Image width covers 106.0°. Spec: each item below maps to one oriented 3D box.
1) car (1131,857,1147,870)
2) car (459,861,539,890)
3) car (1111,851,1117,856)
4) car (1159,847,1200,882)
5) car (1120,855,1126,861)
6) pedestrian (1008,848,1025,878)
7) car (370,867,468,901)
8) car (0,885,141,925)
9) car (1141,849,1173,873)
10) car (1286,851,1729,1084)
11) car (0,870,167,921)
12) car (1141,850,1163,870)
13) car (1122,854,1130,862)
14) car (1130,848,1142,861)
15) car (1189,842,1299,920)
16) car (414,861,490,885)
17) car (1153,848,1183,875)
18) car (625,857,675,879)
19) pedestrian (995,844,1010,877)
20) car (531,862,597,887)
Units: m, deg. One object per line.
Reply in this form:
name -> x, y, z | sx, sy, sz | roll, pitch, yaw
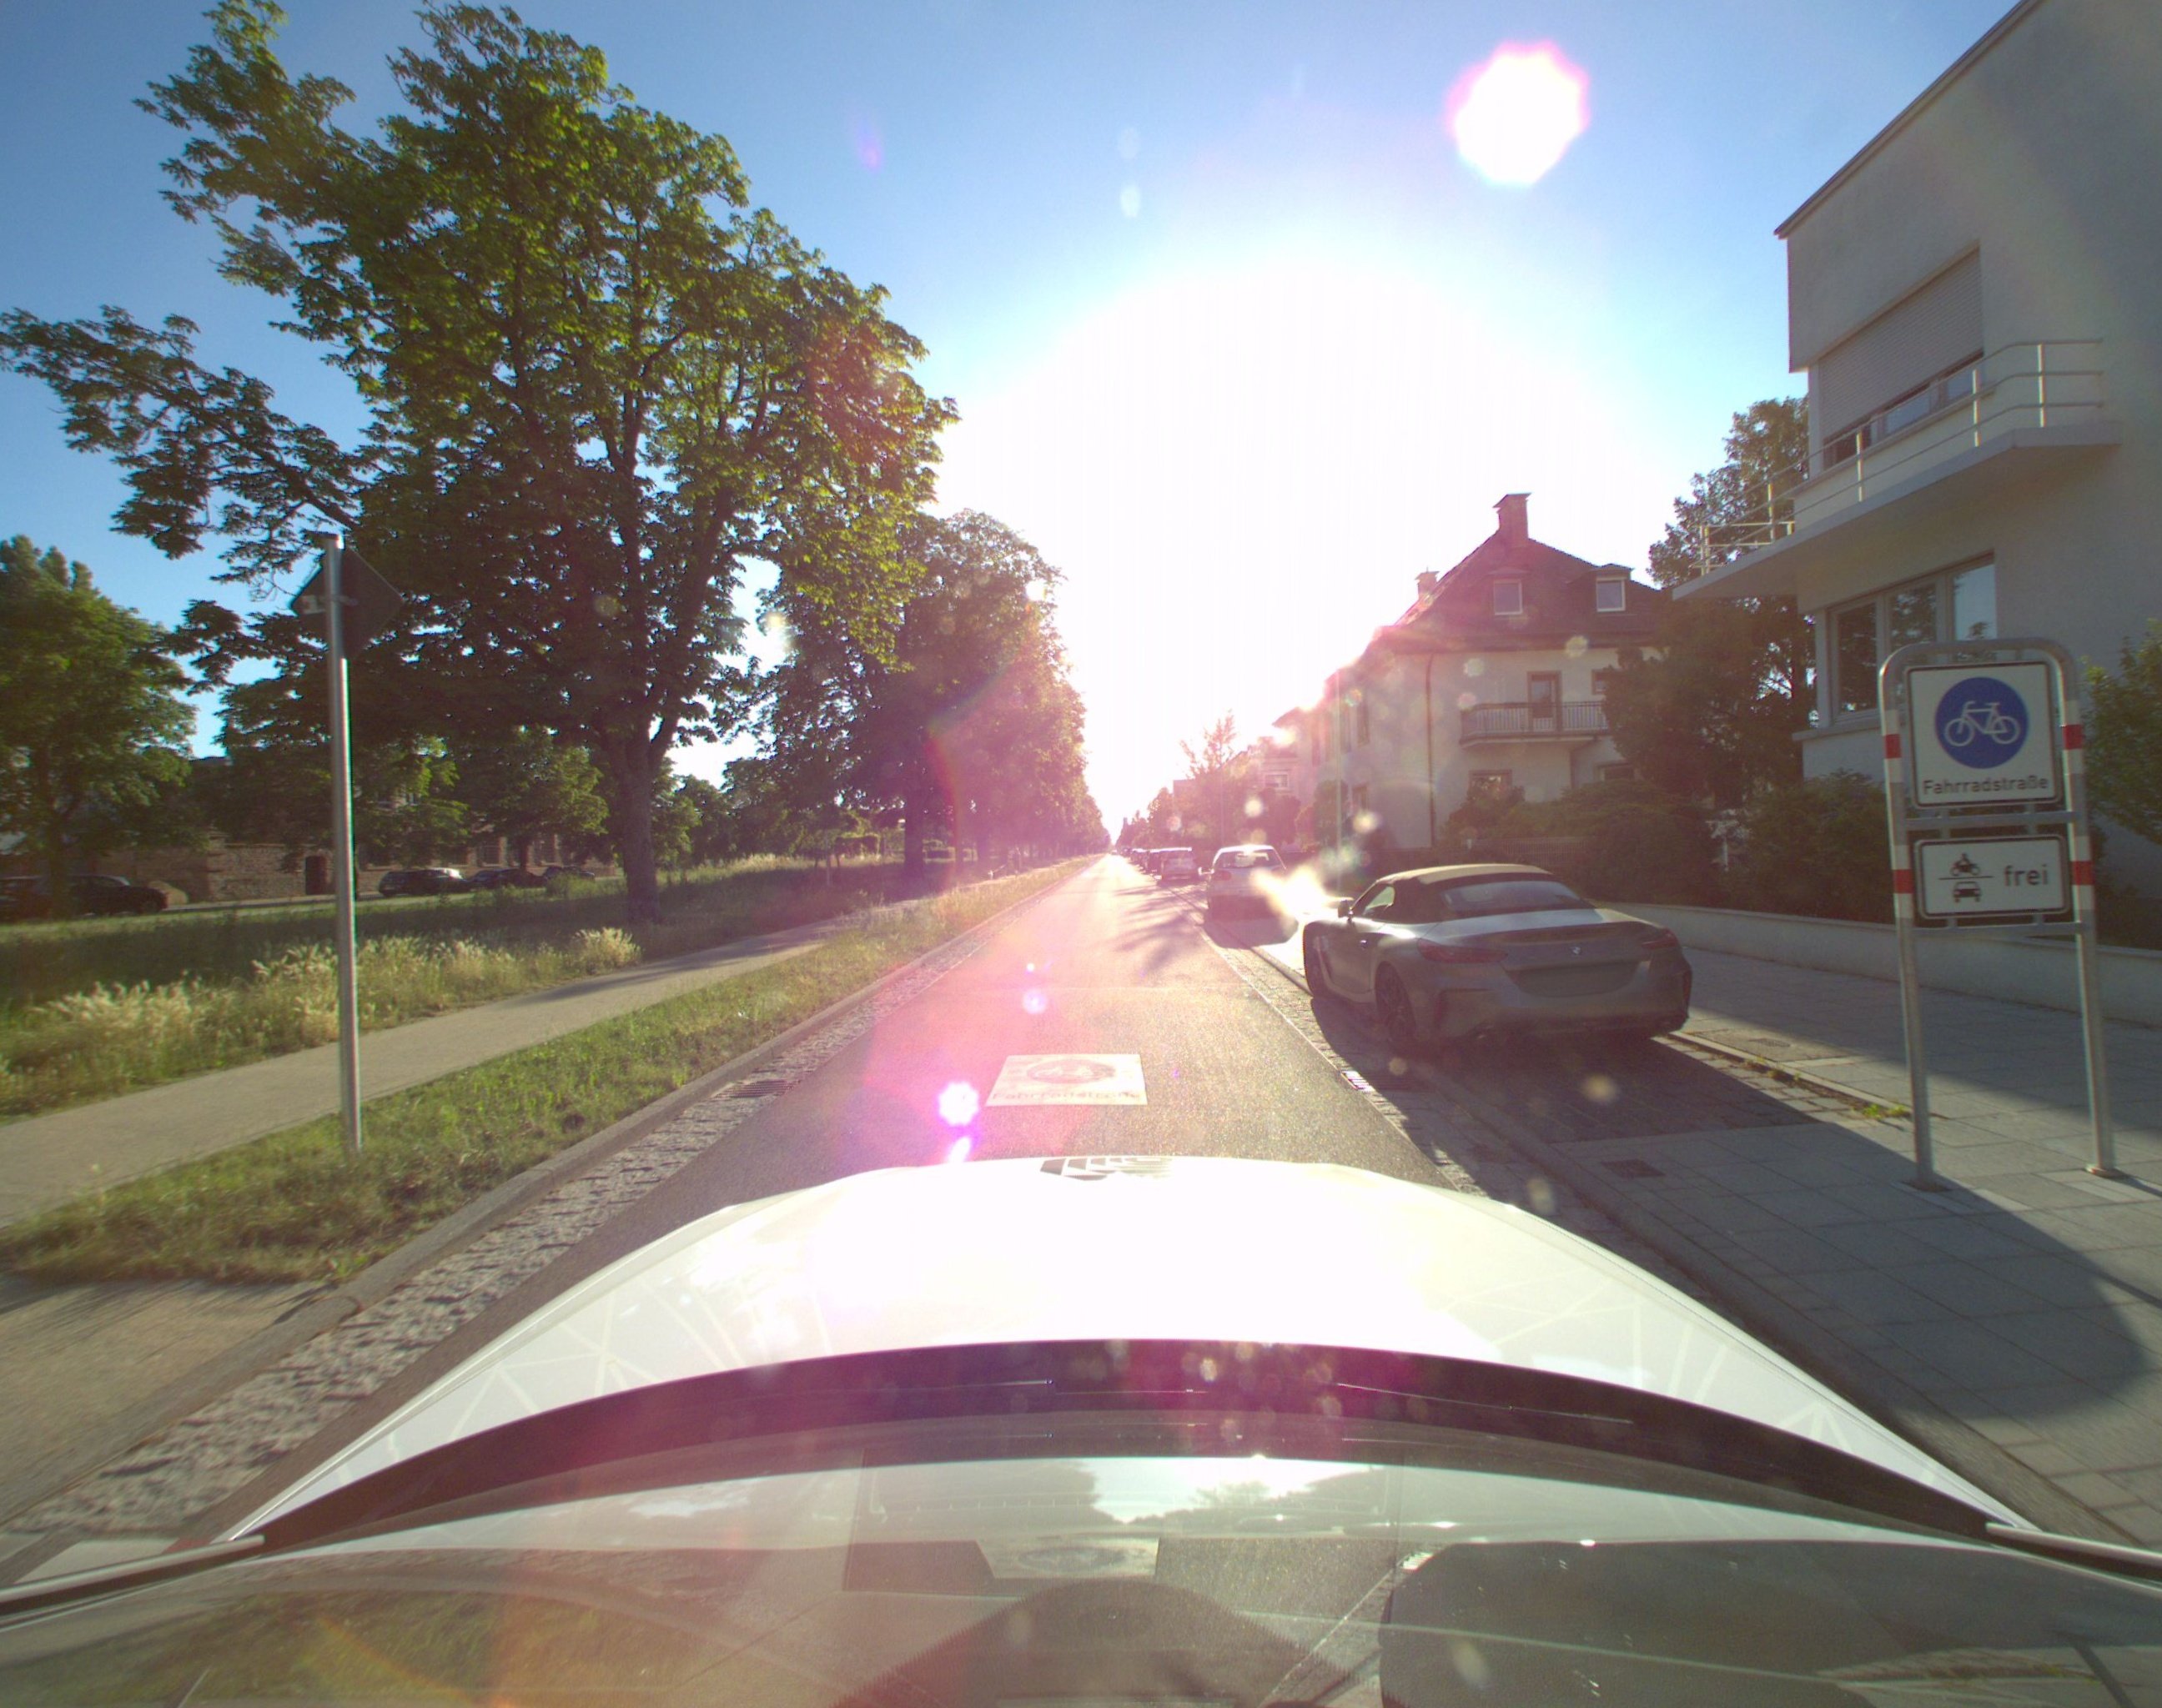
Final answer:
car -> 6.233, 1.008, 87.499 | 1.645, 1.396, 3.269 | -2, 0, 3
car -> -35.079, 1.284, 49.201 | 1.686, 1.597, 4.223 | -1, 0, 1
car -> 9.685, -0.136, 239.915 | 1.645, 1.541, 3.268 | 0, 0, 2
car -> 4.604, 0.446, 38.588 | 1.621, 1.504, 3.636 | -3, 0, 3
car -> 11.003, 0.921, 212.549 | 1.645, 1.541, 3.269 | 0, 0, 3
pedestrian -> -3.605, 0.493, 45.765 | 0.779, 1.614, 0.953 | -1, 0, 6
car -> -35.242, 1.568, 43.506 | 1.686, 1.597, 4.223 | -1, 0, 1
car -> -40.684, 1.977, 32.233 | 1.563, 1.332, 4.483 | 0, 0, 3
car -> 5.062, 0.488, 54.588 | 1.730, 1.449, 4.198 | -3, -1, 1
car -> 3.170, 0.702, 7.179 | 1.767, 1.288, 4.276 | -4, 1, 3
car -> -35.794, 1.426, 28.979 | 1.686, 1.597, 4.223 | -1, 0, 1
car -> 5.635, 0.441, 64.589 | 1.586, 1.510, 3.594 | -2, 0, 3
car -> 9.380, 0.796, 168.468 | 1.645, 1.541, 3.269 | 0, 0, 3
car -> 7.161, 0.070, 106.635 | 1.492, 1.567, 3.269 | -2, 0, 3
car -> 3.603, 0.550, 18.657 | 1.738, 1.474, 3.923 | -4, 0, 1
car -> -40.295, 1.165, 52.276 | 1.623, 1.405, 4.002 | -1, 0, 2
car -> 5.236, 0.455, 48.859 | 1.649, 1.494, 3.722 | -3, -1, 6
car -> -34.673, 1.099, 65.630 | 1.686, 1.597, 4.223 | -1, 0, 1
pedestrian -> -4.377, 0.369, 45.599 | 0.621, 1.831, 0.887 | -1, 0, 6
car -> -35.254, 1.384, 55.646 | 1.686, 1.597, 4.223 | -1, 0, 1
